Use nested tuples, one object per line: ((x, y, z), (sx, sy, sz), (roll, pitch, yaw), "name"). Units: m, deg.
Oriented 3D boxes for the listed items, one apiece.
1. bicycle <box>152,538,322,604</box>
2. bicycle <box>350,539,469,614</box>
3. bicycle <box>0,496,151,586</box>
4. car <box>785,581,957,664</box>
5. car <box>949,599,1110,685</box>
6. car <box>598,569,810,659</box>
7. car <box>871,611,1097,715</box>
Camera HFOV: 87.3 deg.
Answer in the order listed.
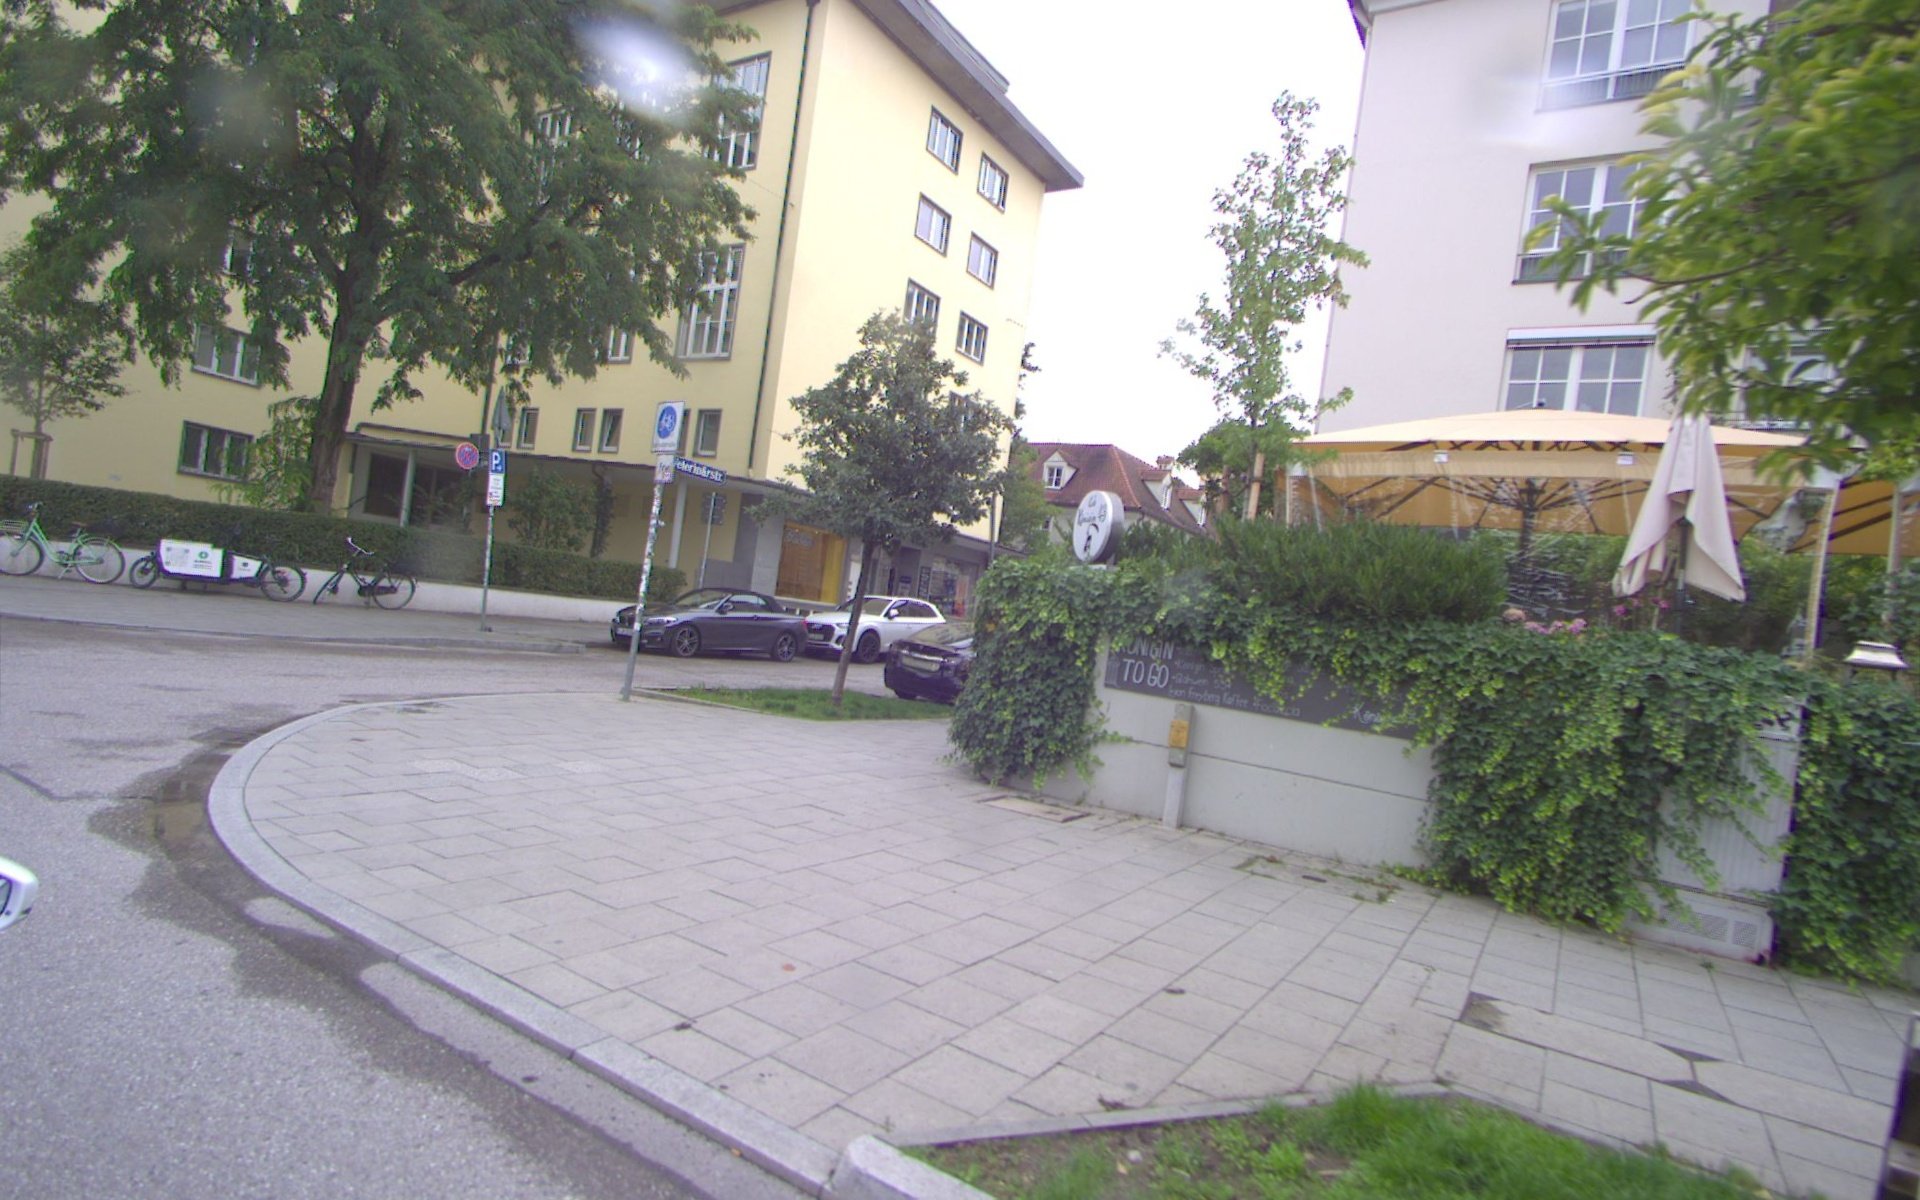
((-11.915, -0.469, 16.670), (2.197, 0.788, 0.604), (8, 0, -35), "bicycle")
((-10.166, -0.414, 18.637), (0.601, 1.164, 1.734), (8, 0, 39), "bicycle")
((-14.136, -0.930, 15.772), (2.179, 1.130, 0.609), (8, 0, -7), "bicycle")
((-2.096, 0.615, 24.859), (1.821, 1.654, 4.271), (6, 0, 34), "car")
((1.816, 1.062, 24.715), (1.969, 1.715, 4.369), (8, 1, 32), "car")
((-5.034, 0.336, 20.274), (1.581, 1.453, 3.977), (6, 0, 35), "car")
((0.564, 1.067, 17.337), (1.819, 1.348, 4.369), (8, 1, 32), "car")
